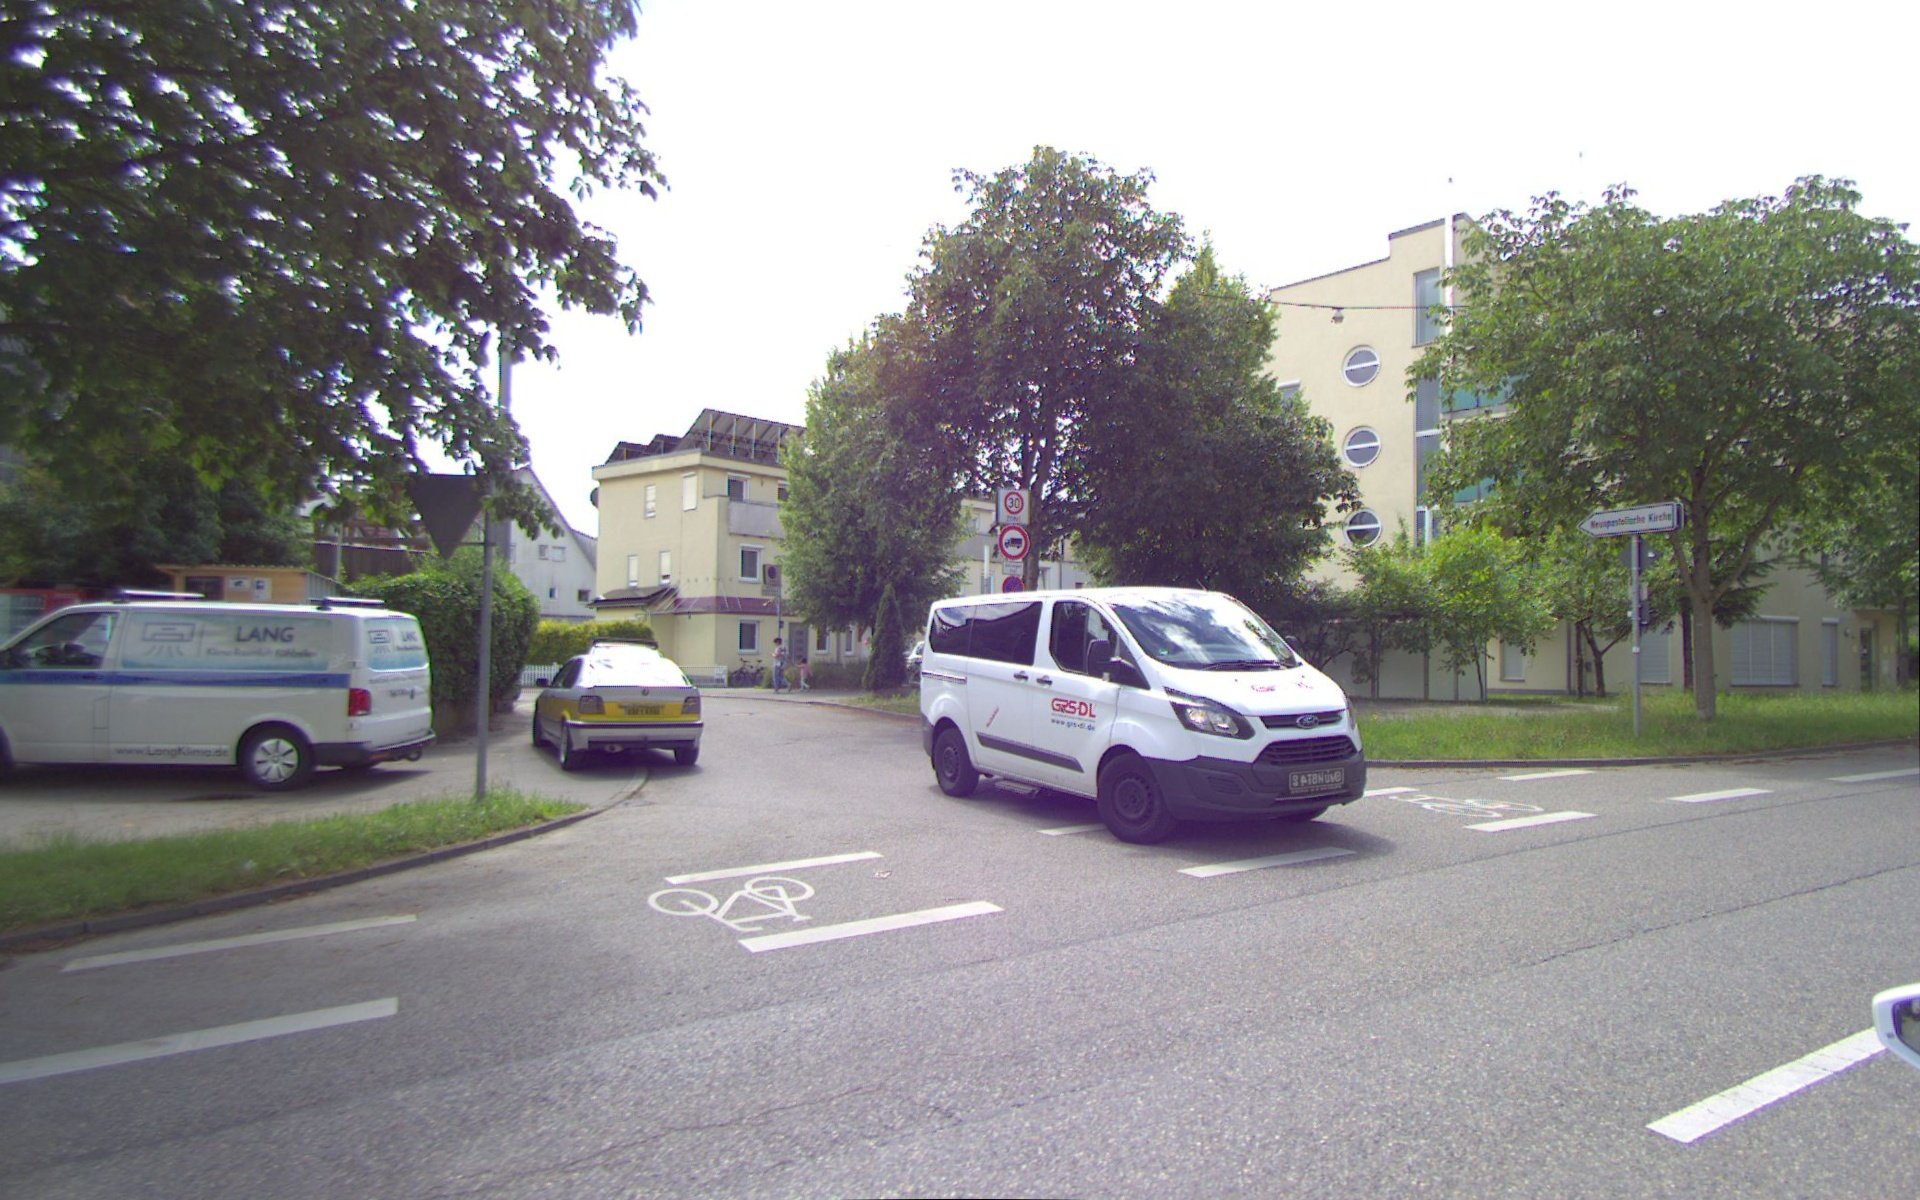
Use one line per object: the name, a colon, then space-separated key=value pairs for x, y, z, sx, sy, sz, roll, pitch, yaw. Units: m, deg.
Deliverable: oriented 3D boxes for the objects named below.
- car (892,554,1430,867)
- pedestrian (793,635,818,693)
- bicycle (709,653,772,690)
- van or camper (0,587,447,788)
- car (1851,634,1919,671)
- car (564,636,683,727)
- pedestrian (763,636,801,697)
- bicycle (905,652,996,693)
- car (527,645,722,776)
car: x=1.360 y=0.890 z=9.306 sx=2.081 sy=2.019 sz=5.195 roll=0 pitch=-4 yaw=-27
pedestrian: x=-4.418 y=1.828 z=28.695 sx=0.563 sy=1.578 sz=0.688 roll=-3 pitch=0 yaw=-14
bicycle: x=-8.485 y=2.750 z=38.872 sx=2.391 sy=1.383 sz=0.509 roll=3 pitch=-2 yaw=-41
van or camper: x=-8.392 y=0.953 z=11.231 sx=4.297 sy=2.019 sz=1.789 roll=1 pitch=-2 yaw=-6
car: x=41.573 y=2.268 z=43.411 sx=1.876 sy=1.543 sz=4.163 roll=2 pitch=-3 yaw=-26
car: x=-6.695 y=1.539 z=19.728 sx=1.791 sy=1.569 sz=3.978 roll=3 pitch=-3 yaw=-24
pedestrian: x=-5.026 y=1.859 z=28.328 sx=0.803 sy=1.616 sz=0.731 roll=-4 pitch=0 yaw=-28
bicycle: x=-0.238 y=1.735 z=24.184 sx=2.183 sy=0.871 sz=0.464 roll=1 pitch=-2 yaw=25
car: x=-4.716 y=1.387 z=13.751 sx=1.794 sy=1.432 sz=3.999 roll=3 pitch=-3 yaw=-29
